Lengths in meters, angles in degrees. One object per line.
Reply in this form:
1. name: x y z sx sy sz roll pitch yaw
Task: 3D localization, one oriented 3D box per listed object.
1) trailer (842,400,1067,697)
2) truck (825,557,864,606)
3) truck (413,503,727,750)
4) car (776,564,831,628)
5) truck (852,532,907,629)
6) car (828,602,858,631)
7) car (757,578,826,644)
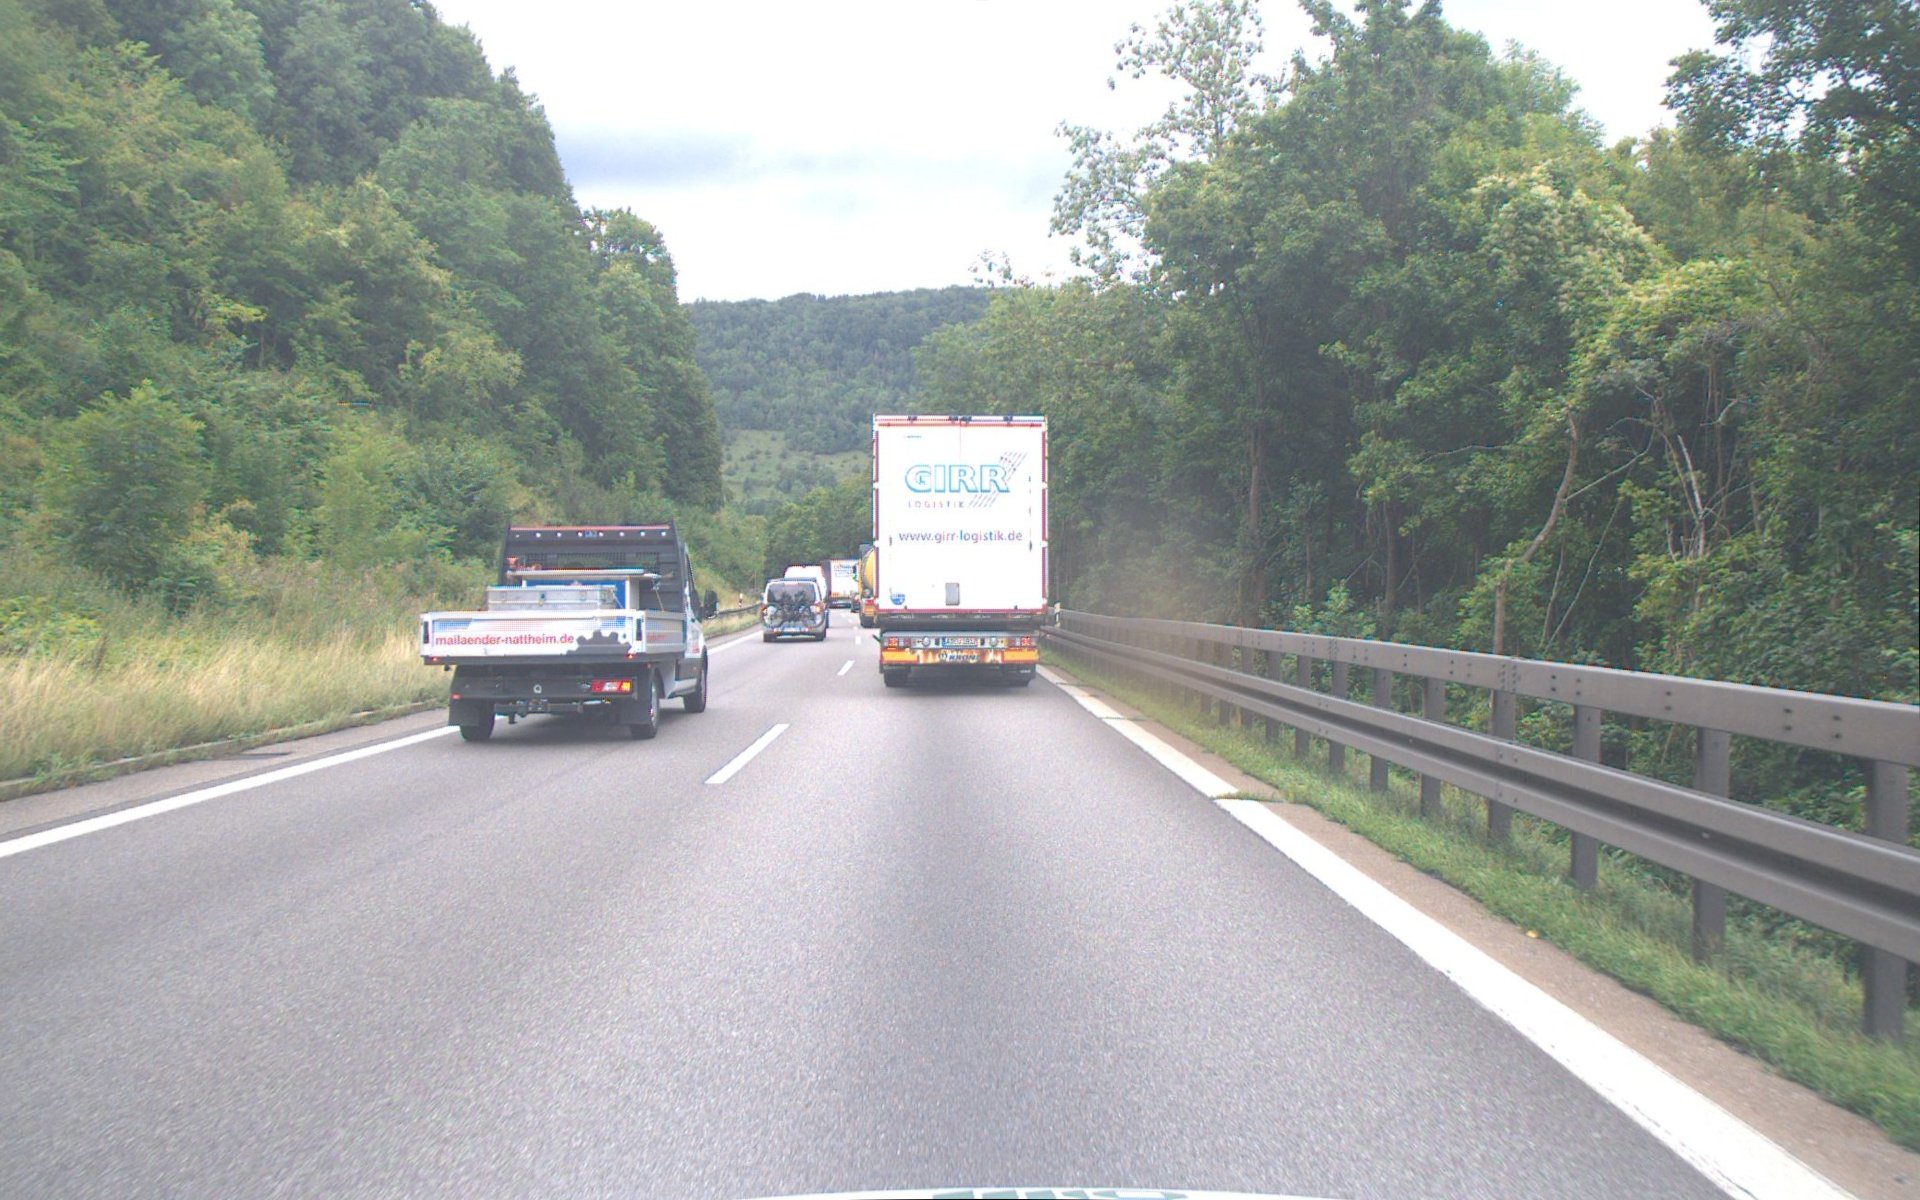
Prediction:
1. trailer: -0.148 -0.749 28.153 3.069 4.113 9.437 2 0 -1
2. truck: -9.762 -1.522 138.576 3.009 3.945 8.448 0 0 -6
3. truck: -4.147 0.246 18.982 2.302 2.313 6.845 0 0 -3
4. car: -6.730 -0.162 71.586 2.081 2.644 5.560 -1 0 -3
5. truck: -3.325 -0.754 69.479 2.188 3.870 6.820 0 0 -2
6. car: -8.323 1.156 117.593 1.955 2.049 3.995 0 0 -6
7. car: -5.238 0.304 51.980 1.978 1.948 5.558 0 0 -4
